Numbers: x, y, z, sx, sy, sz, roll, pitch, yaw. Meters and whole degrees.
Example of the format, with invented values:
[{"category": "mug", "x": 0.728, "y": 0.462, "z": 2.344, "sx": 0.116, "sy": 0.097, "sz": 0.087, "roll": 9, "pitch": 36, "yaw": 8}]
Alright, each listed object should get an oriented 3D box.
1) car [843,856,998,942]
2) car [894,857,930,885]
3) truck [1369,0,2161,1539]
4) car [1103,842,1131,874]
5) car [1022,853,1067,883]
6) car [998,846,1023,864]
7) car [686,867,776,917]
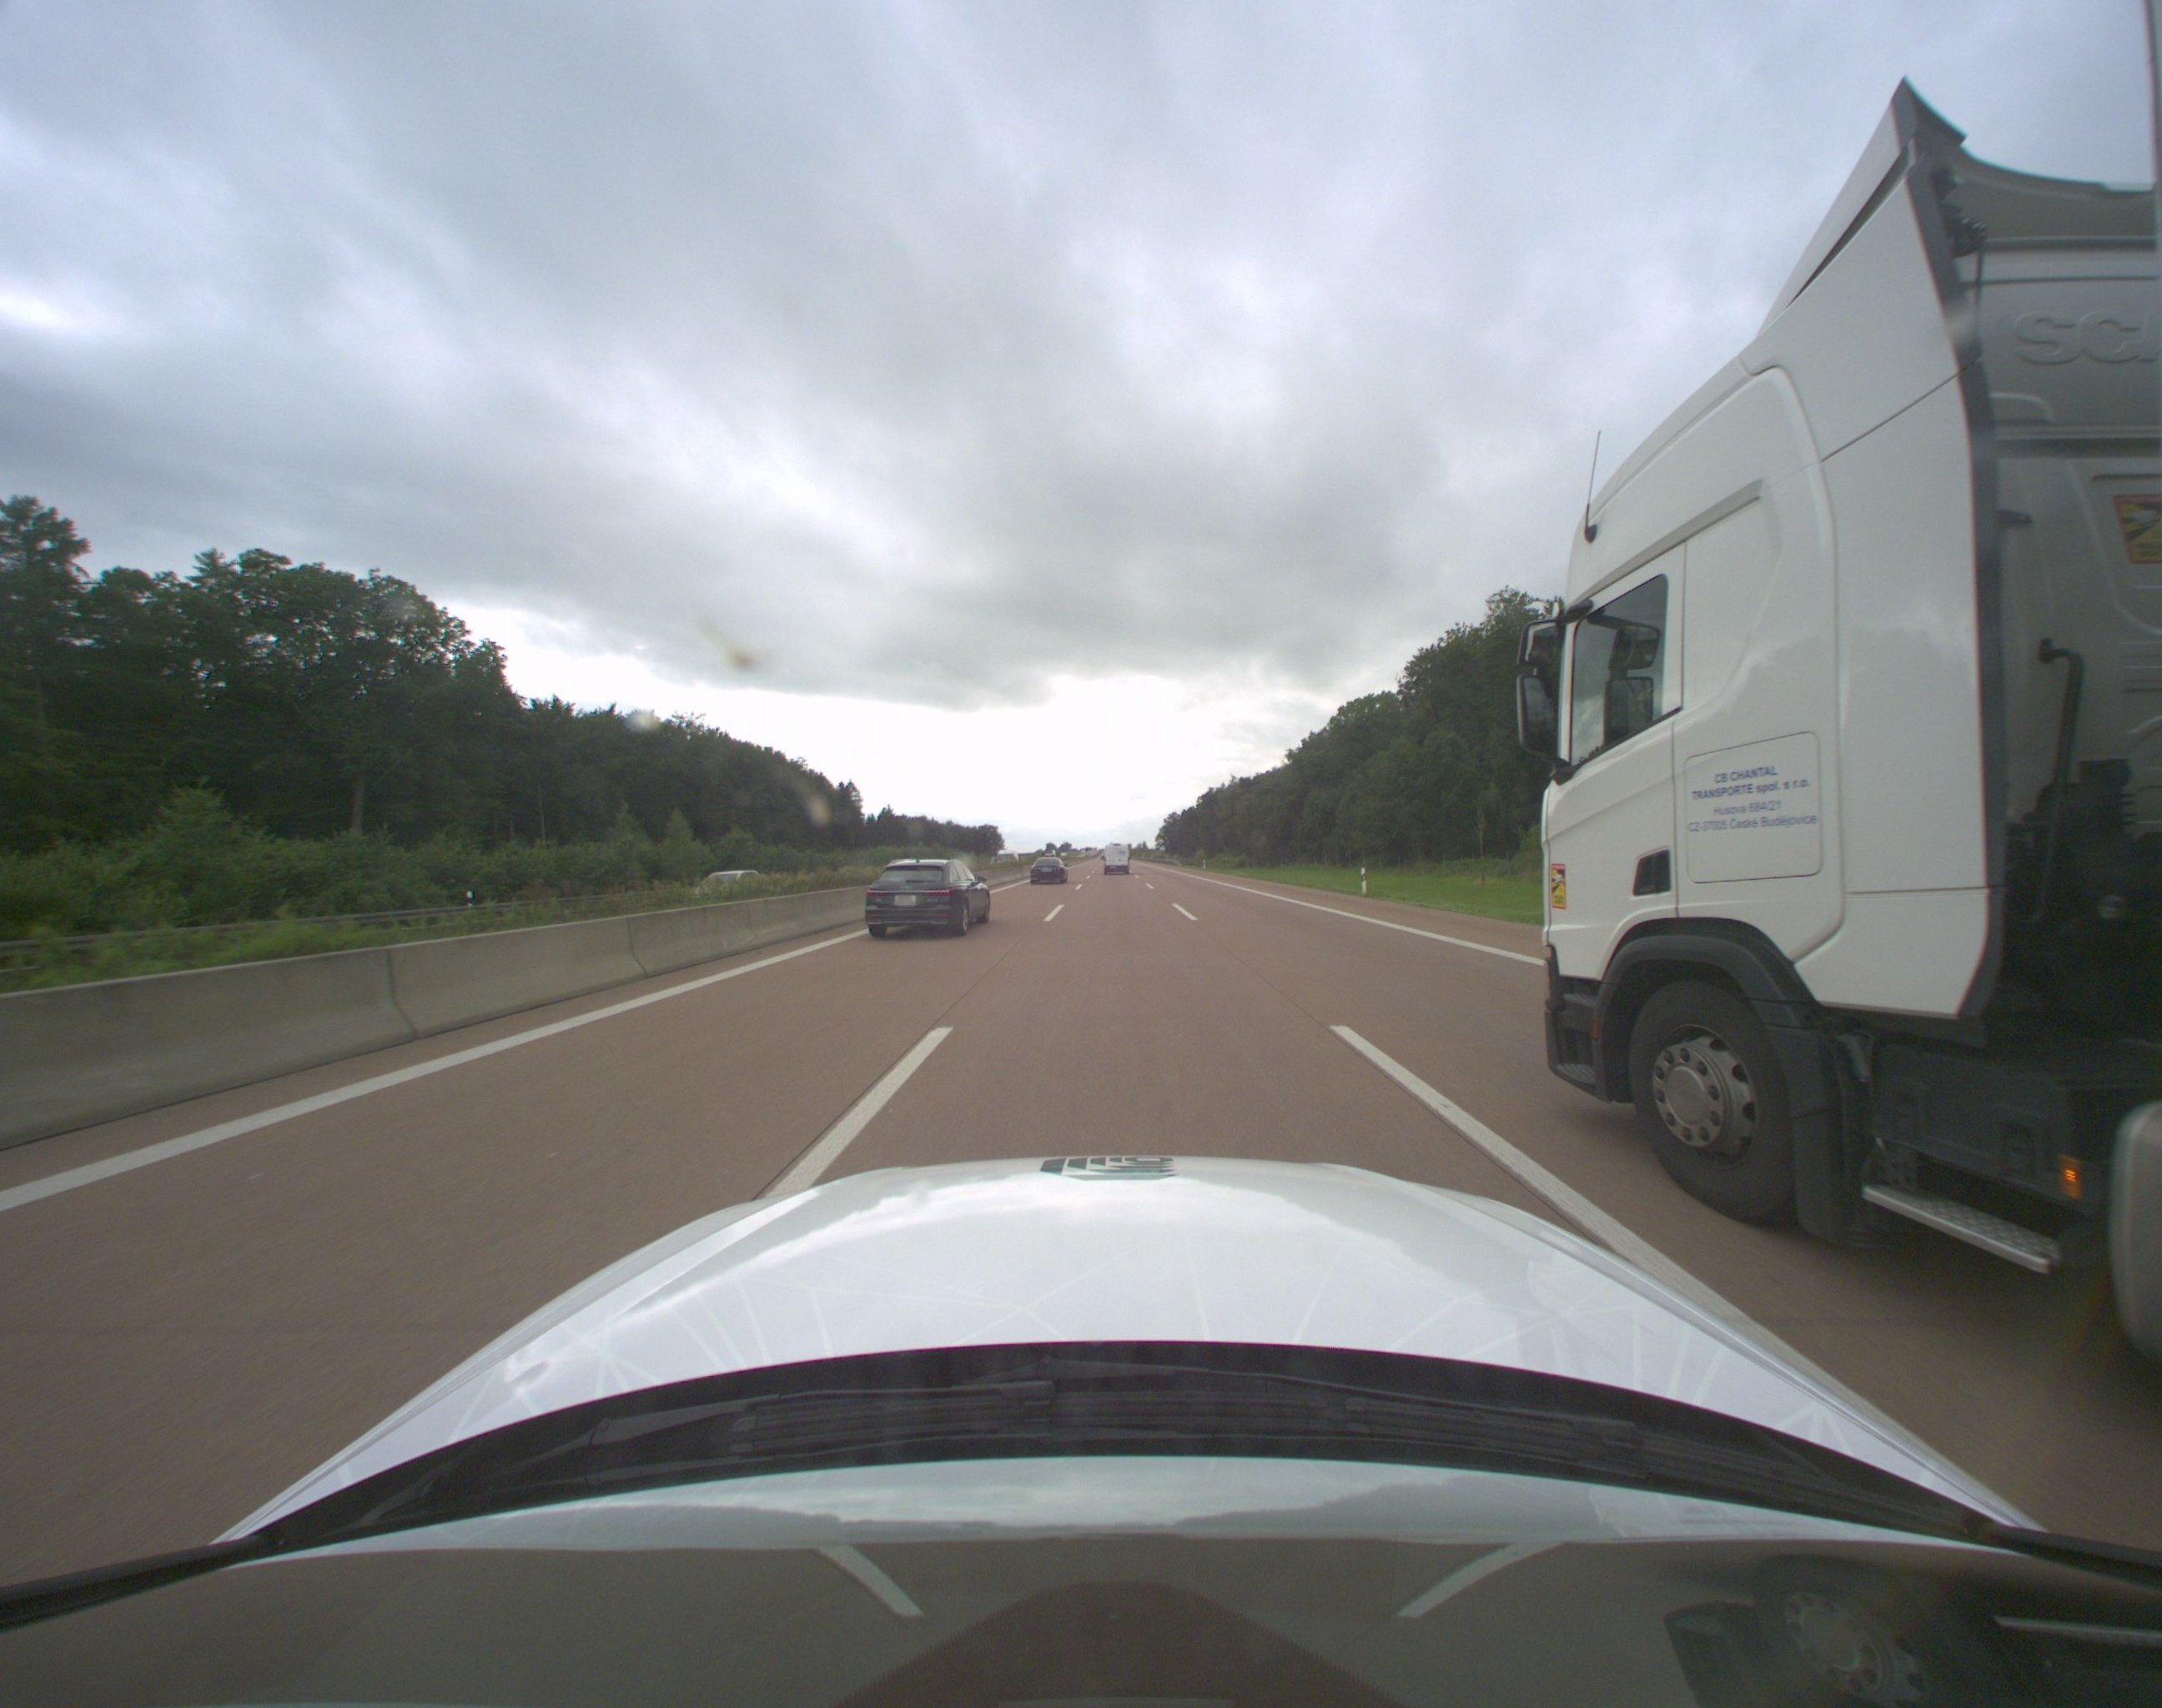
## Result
[{"category": "car", "x": -3.139, "y": 0.814, "z": 17.263, "sx": 2.051, "sy": 1.491, "sz": 5.455, "roll": -1, "pitch": 0, "yaw": 1}, {"category": "car", "x": -12.705, "y": 1.249, "z": 61.402, "sx": 1.665, "sy": 1.981, "sz": 4.002, "roll": 0, "pitch": 0, "yaw": 2}, {"category": "truck", "x": 3.708, "y": -0.758, "z": 3.814, "sx": 2.910, "sy": 4.294, "sz": 5.336, "roll": -1, "pitch": 0, "yaw": 1}, {"category": "car", "x": 2.989, "y": 0.283, "z": 67.073, "sx": 2.129, "sy": 2.507, "sz": 7.136, "roll": -1, "pitch": 0, "yaw": 2}, {"category": "car", "x": -1.984, "y": 0.755, "z": 46.182, "sx": 2.077, "sy": 1.550, "sz": 5.677, "roll": 0, "pitch": 0, "yaw": 2}, {"category": "car", "x": -8.237, "y": 0.118, "z": 96.240, "sx": 2.064, "sy": 2.141, "sz": 7.491, "roll": 0, "pitch": 0, "yaw": 2}, {"category": "car", "x": -13.659, "y": 1.453, "z": 32.015, "sx": 1.777, "sy": 1.772, "sz": 3.754, "roll": 0, "pitch": 0, "yaw": 2}]
